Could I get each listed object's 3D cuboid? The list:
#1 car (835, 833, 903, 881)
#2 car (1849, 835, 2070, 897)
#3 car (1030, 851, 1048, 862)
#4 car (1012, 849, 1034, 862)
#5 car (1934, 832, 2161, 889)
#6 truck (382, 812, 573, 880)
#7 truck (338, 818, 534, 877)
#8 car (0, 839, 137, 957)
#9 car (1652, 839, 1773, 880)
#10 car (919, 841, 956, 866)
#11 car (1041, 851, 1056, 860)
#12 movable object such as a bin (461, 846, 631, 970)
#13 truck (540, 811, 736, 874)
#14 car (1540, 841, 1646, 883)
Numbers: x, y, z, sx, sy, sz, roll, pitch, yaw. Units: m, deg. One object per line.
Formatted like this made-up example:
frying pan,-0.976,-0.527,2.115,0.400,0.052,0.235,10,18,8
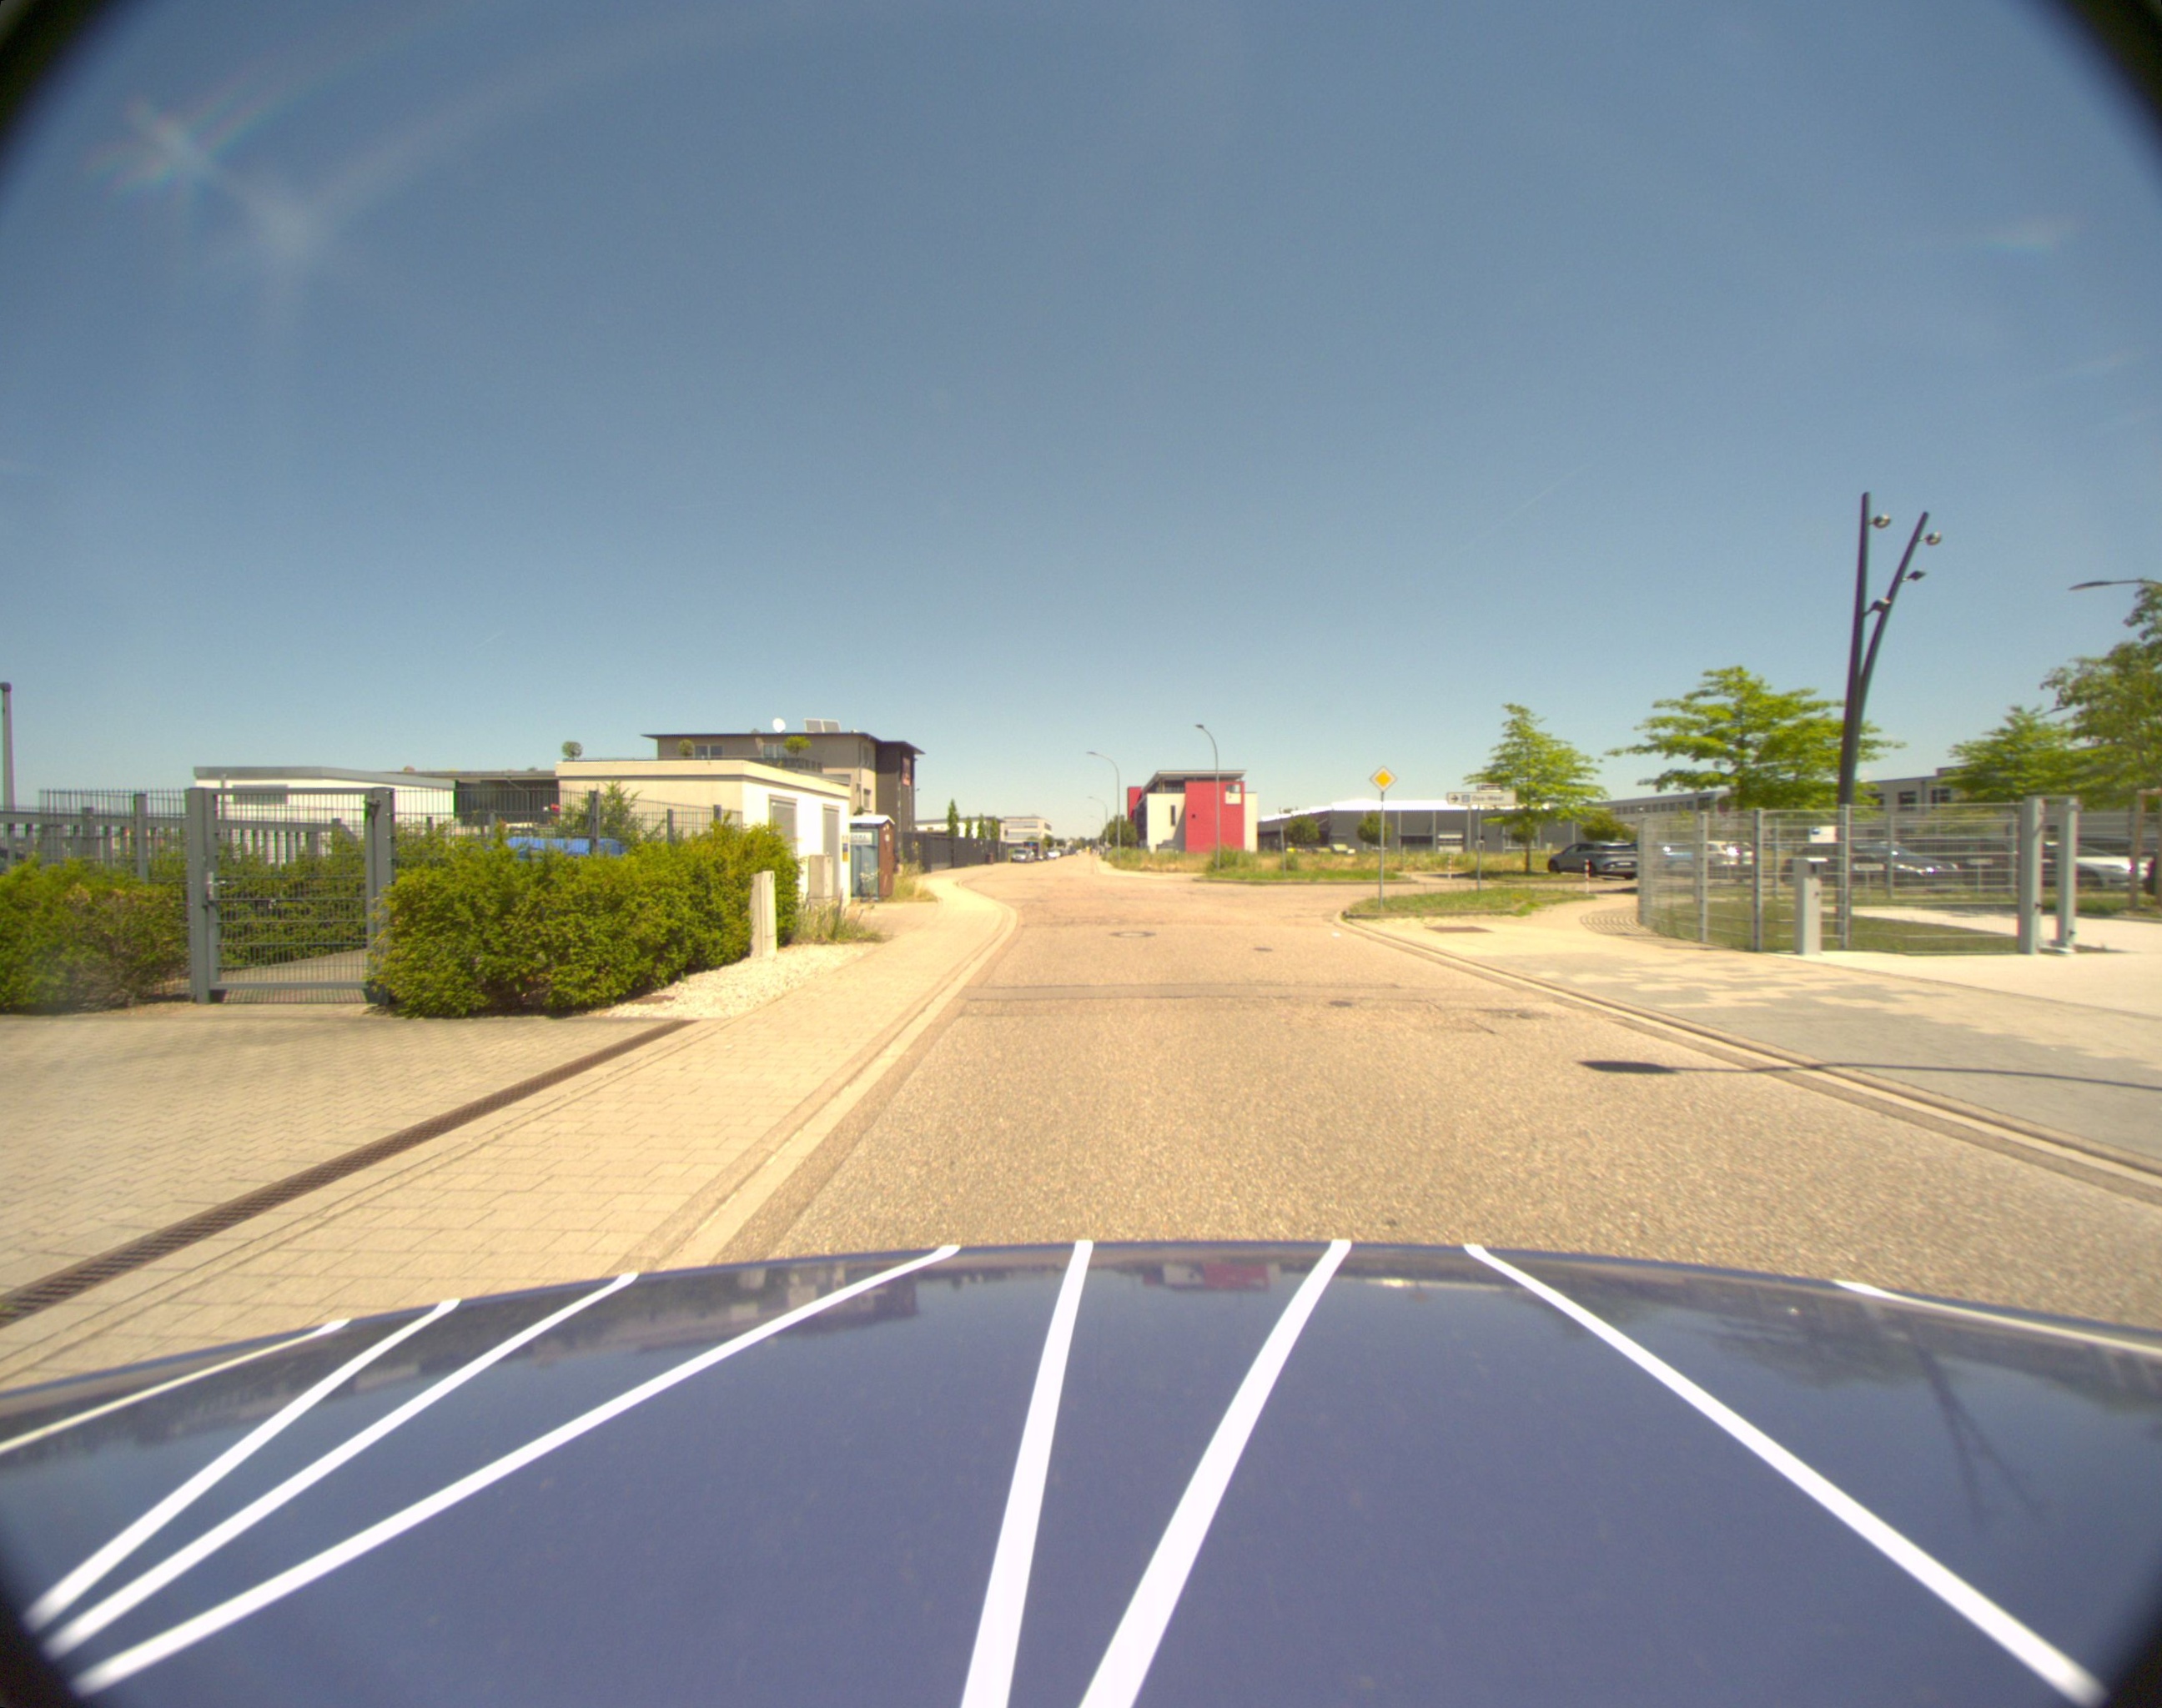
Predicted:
car,-10.255,0.111,37.146,1.919,2.149,4.779,-1,1,1
car,25.041,0.341,21.924,1.610,1.611,4.255,0,-1,4
car,-5.226,0.261,94.651,1.828,1.269,3.886,0,1,2
car,-5.876,0.094,77.083,1.828,1.269,3.886,0,1,2
car,27.526,0.202,21.747,1.610,1.467,4.117,0,-1,1
truck,-28.444,-0.377,36.021,7.026,3.005,2.496,-1,1,1
truck,-34.866,-0.343,41.282,8.354,3.005,2.689,-1,1,1
car,-14.795,0.611,9.107,1.859,1.481,3.998,0,2,1
car,27.957,0.199,33.855,1.956,1.688,4.309,-1,1,3
car,-10.533,-0.070,56.028,1.928,1.784,3.999,0,1,0
car,-4.705,0.172,110.271,1.828,1.269,3.886,0,1,2
movable object such as a bin,-6.920,0.661,9.928,1.386,1.514,1.170,0,1,0
truck,-23.712,-0.632,40.958,8.966,3.158,2.689,-1,1,1
car,22.555,0.308,33.704,1.956,1.688,4.309,-1,1,3
